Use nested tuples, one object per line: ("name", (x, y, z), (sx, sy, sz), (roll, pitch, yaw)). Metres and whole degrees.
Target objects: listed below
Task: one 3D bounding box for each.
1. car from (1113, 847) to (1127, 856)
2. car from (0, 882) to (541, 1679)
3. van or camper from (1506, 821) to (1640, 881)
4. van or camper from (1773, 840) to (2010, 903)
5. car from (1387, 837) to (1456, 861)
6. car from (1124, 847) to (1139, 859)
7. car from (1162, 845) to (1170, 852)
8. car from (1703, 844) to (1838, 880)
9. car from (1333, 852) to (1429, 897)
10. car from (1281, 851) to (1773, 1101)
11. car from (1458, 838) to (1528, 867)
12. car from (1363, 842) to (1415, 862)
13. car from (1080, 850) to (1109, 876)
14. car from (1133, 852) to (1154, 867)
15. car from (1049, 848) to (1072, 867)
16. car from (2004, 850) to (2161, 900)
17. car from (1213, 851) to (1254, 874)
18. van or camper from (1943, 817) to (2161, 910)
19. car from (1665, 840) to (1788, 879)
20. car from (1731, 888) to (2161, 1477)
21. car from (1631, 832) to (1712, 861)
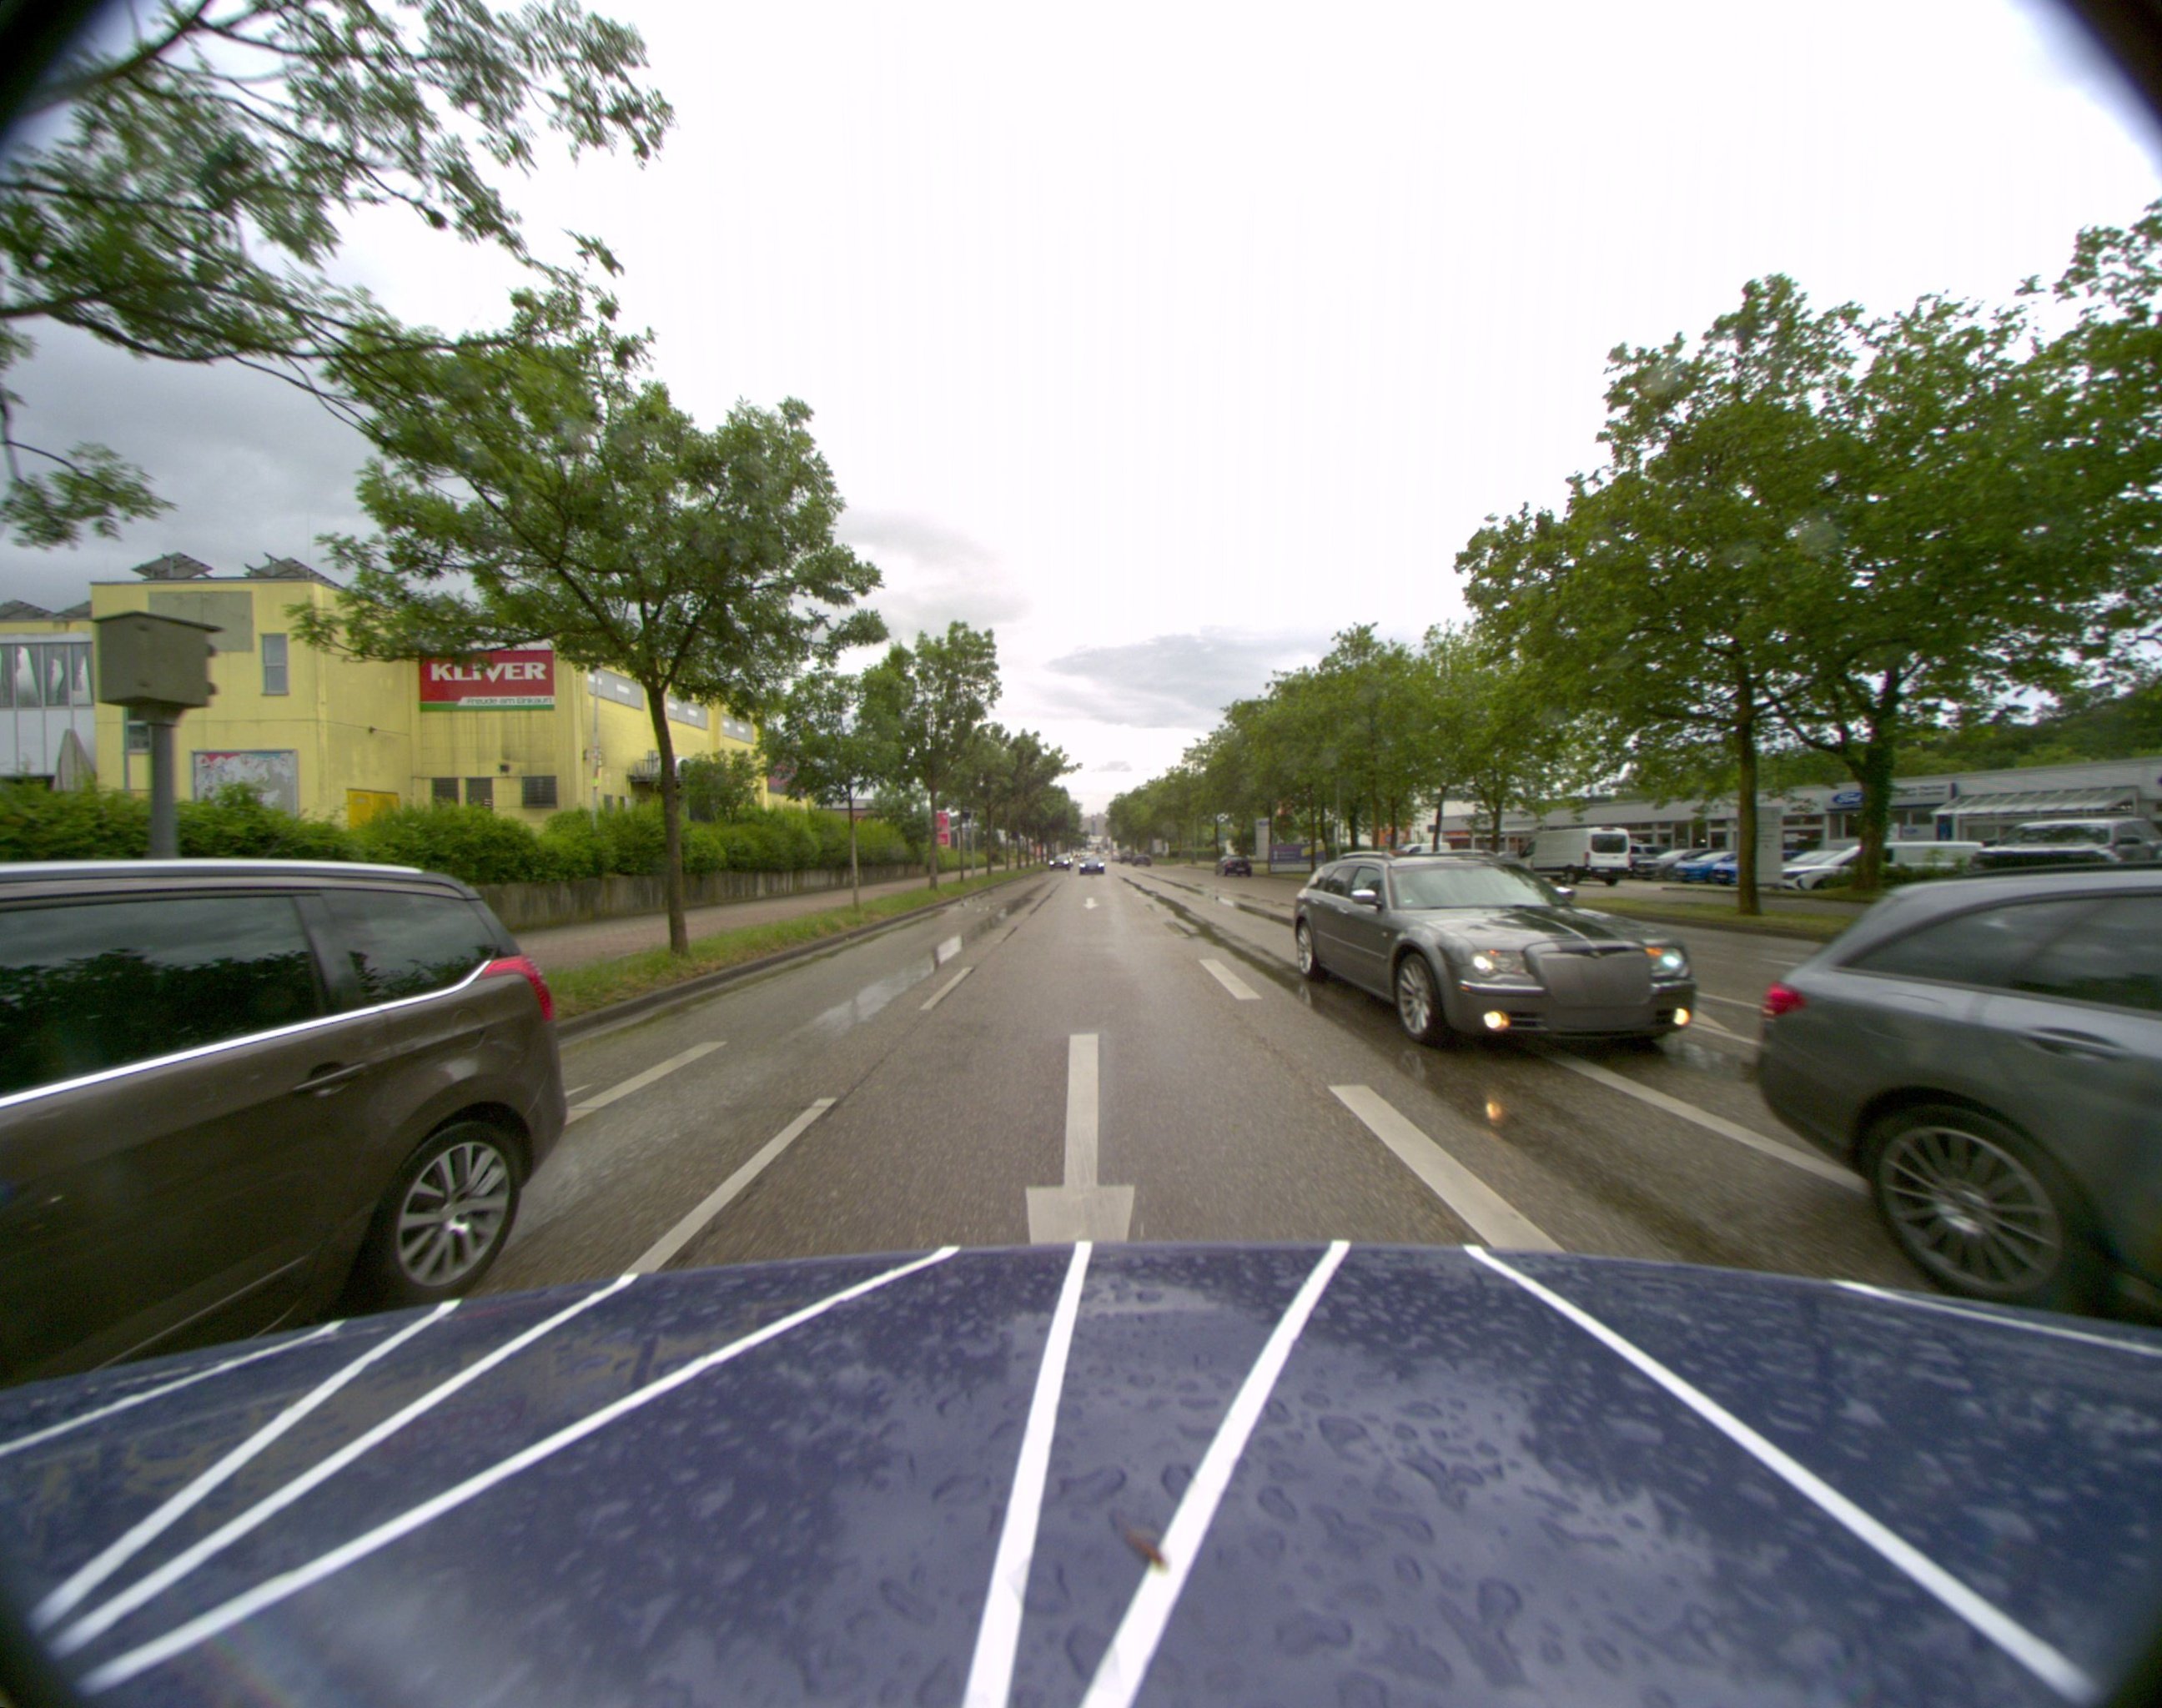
("car", (6.131, -0.382, 120.856), (1.999, 1.421, 4.684), (0, 1, -1))
("car", (-3.172, 0.956, 0.945), (1.731, 1.615, 4.470), (-1, 1, 1))
("van or camper", (22.677, -0.142, 35.439), (1.999, 2.456, 6.399), (-2, 1, -1))
("van or camper", (24.653, 0.506, 23.383), (4.635, 1.774, 1.842), (-1, 1, 25))
("car", (29.621, -0.427, 66.154), (5.058, 2.002, 2.129), (-1, 1, -1))
("car", (6.534, -0.120, 99.088), (1.767, 1.522, 3.858), (1, 1, 1))
("car", (20.361, -1.373, 181.950), (1.746, 1.525, 4.000), (1, 1, 2))
("car", (30.081, 0.356, 33.283), (3.992, 1.512, 1.867), (-1, 1, 15))
("car", (10.483, 0.655, 26.835), (1.714, 1.456, 4.084), (0, 1, -1))
("car", (3.483, 0.773, 7.295), (1.912, 1.569, 4.880), (0, 1, 1))
("car", (29.447, -0.097, 54.326), (3.997, 2.002, 1.882), (-1, 1, -2))
("car", (29.152, -0.211, 72.004), (4.136, 1.803, 2.065), (-1, 1, 2))
("car", (1.008, 0.627, 55.786), (1.998, 1.633, 4.360), (-3, 1, 1))
("car", (6.677, 0.572, 81.854), (1.671, 1.454, 4.179), (0, 1, -3))
("car", (-1.938, 0.331, 73.438), (1.998, 1.633, 4.360), (-3, 1, 1))
("car", (31.721, 0.623, 23.479), (3.900, 1.459, 1.601), (-1, 1, 13))
("car", (10.007, 0.542, 50.067), (1.741, 1.421, 4.536), (0, 1, -1))
("van or camper", (21.999, 0.150, 16.934), (5.306, 1.811, 2.262), (-1, 1, -25))
("car", (30.368, 0.275, 35.888), (3.992, 1.756, 1.867), (-1, 1, 16))
("car", (3.685, 0.858, 0.901), (1.998, 1.420, 4.554), (1, 0, 2))
("car", (41.173, -0.570, 52.924), (5.357, 1.827, 2.385), (-2, 1, -27))
